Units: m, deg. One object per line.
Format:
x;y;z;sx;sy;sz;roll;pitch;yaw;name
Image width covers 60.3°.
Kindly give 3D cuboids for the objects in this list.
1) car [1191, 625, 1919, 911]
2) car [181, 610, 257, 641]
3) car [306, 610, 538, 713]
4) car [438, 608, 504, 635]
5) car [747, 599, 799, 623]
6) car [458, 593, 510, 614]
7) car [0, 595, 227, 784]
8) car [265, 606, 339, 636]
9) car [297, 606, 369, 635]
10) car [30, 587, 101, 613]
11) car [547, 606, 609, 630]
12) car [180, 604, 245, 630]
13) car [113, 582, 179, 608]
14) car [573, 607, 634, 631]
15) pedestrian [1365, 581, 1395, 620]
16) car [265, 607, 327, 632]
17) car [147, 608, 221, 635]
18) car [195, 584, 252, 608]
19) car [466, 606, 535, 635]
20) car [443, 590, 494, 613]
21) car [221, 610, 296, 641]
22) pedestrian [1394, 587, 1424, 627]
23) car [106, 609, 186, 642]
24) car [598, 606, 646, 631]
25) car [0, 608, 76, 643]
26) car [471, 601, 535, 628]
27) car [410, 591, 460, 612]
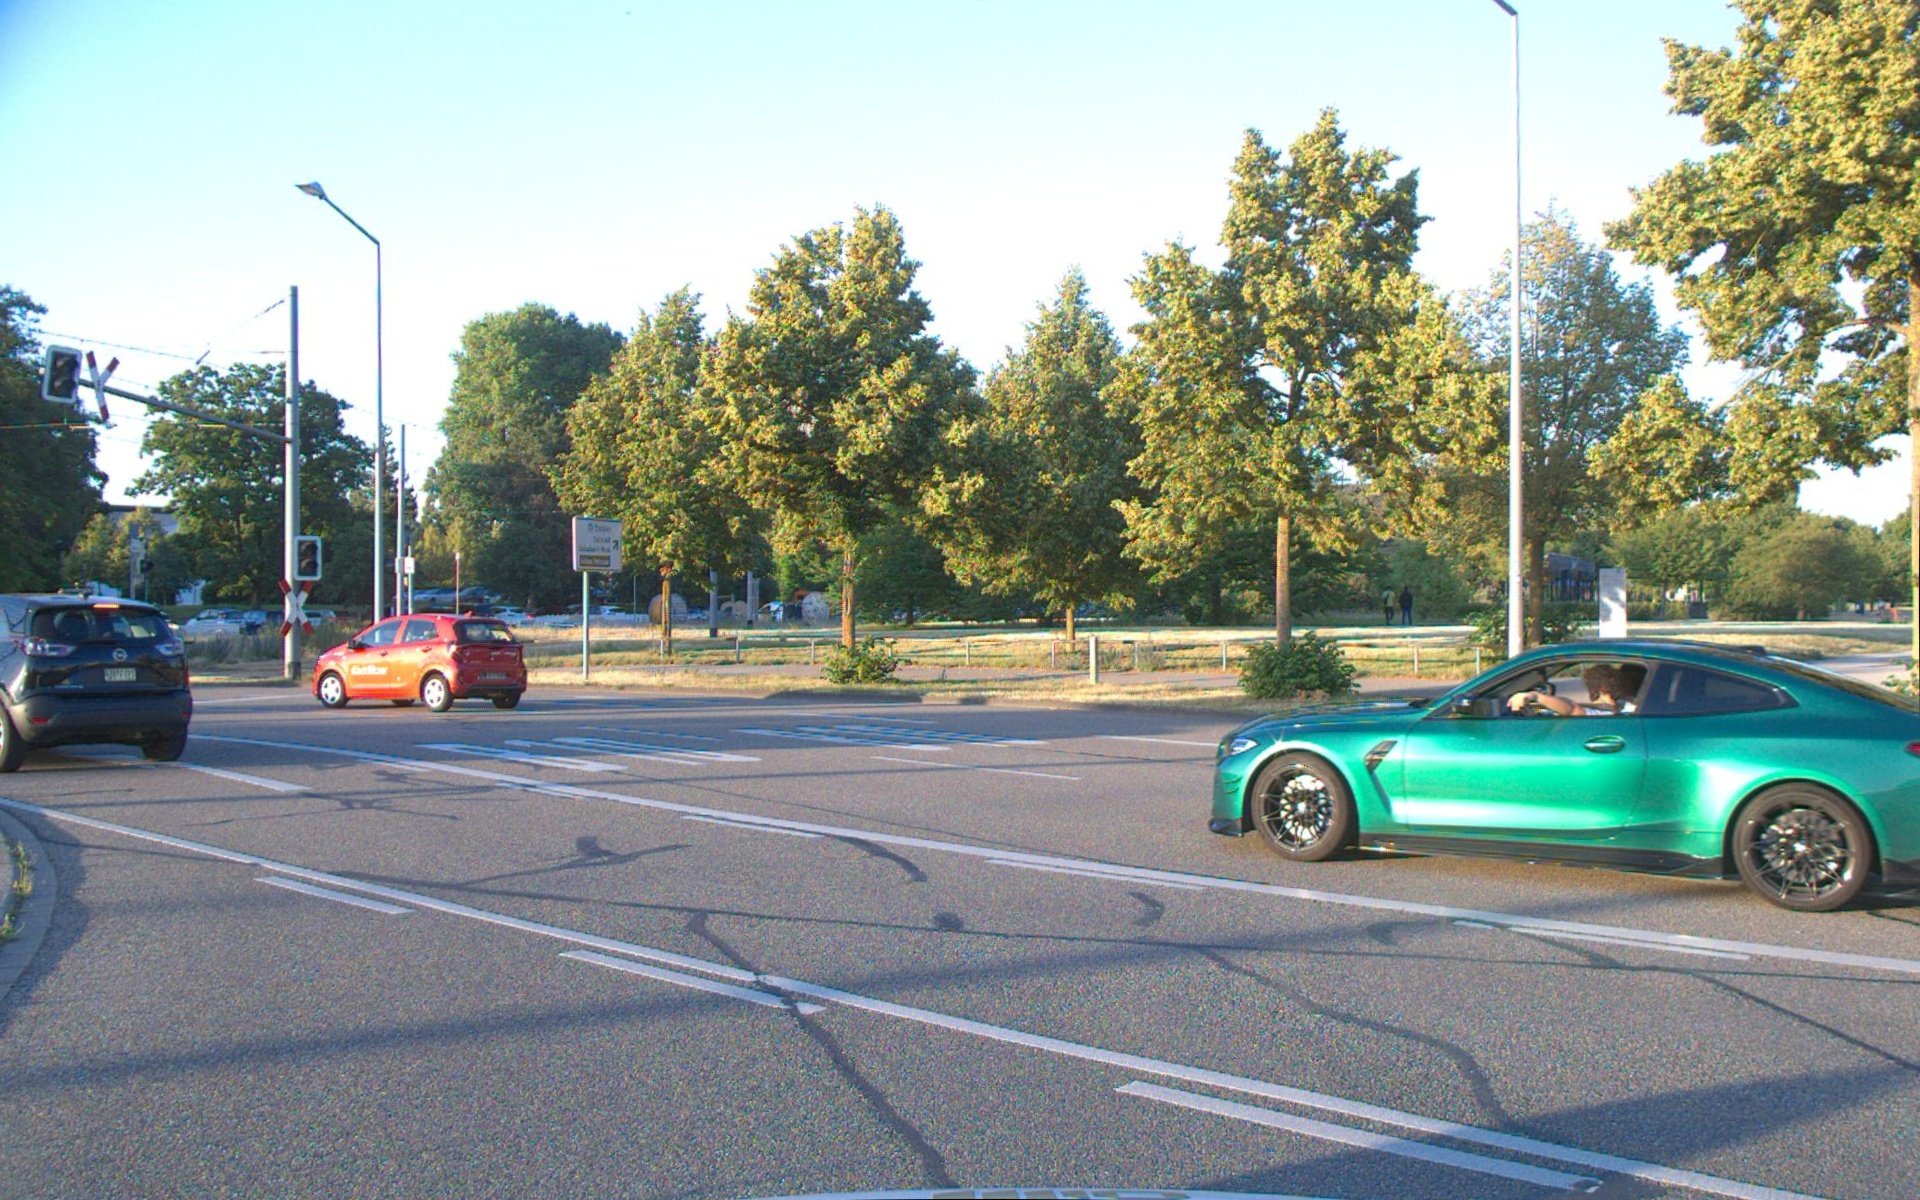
3.961;0.890;10.215;4.633;1.395;1.995;0;0;32;car
-40.514;1.369;90.381;3.915;1.632;1.995;0;0;32;car
-8.568;0.926;26.311;3.413;1.526;1.640;0;0;29;car
-30.958;1.329;104.689;3.915;1.632;1.995;0;0;32;car
-12.984;0.767;114.675;1.724;1.646;3.940;0;0;-41;car
-41.667;0.304;144.729;3.902;1.736;2.001;0;0;6;car
-9.071;0.767;16.132;3.922;1.612;1.888;0;0;37;car
-37.371;1.172;93.874;3.915;1.632;1.995;0;0;32;car
-36.427;1.198;96.092;3.915;1.632;1.995;0;0;32;car
-70.513;-0.018;130.472;1.956;2.049;4.590;0;0;29;car
-26.251;1.242;113.678;3.915;1.632;1.995;0;0;32;car
-50.542;1.115;111.876;3.939;1.691;1.983;0;0;-27;car
-67.097;-0.406;136.346;1.958;2.049;4.585;0;0;33;car
-24.882;1.328;115.427;3.915;1.632;1.995;0;0;32;car
17.762;0.010;69.995;1.047;1.646;0.911;0;0;2;pedestrian
-45.798;1.326;114.117;3.933;1.691;1.889;0;0;-23;car
-50.212;1.375;107.089;1.863;1.691;3.987;0;0;34;car
-63.354;-0.318;142.367;1.958;2.049;4.105;0;0;33;car
-32.505;1.447;117.159;4.499;2.049;1.996;0;0;-9;car
-44.067;0.118;148.241;1.963;2.049;3.979;0;0;40;car
-39.071;1.401;92.049;3.915;1.632;1.995;0;0;32;car
18.965;0.287;69.924;1.047;1.646;0.911;0;0;2;pedestrian
-42.239;1.319;85.791;3.915;1.632;1.995;0;0;32;car
-26.344;1.400;128.883;1.979;1.782;4.538;0;1;-37;car
-45.609;1.243;81.439;3.915;1.632;1.995;0;0;32;car
-34.573;1.091;125.267;4.499;2.049;1.996;0;0;-9;car
-47.929;0.122;151.069;1.959;1.847;3.987;0;0;34;car
